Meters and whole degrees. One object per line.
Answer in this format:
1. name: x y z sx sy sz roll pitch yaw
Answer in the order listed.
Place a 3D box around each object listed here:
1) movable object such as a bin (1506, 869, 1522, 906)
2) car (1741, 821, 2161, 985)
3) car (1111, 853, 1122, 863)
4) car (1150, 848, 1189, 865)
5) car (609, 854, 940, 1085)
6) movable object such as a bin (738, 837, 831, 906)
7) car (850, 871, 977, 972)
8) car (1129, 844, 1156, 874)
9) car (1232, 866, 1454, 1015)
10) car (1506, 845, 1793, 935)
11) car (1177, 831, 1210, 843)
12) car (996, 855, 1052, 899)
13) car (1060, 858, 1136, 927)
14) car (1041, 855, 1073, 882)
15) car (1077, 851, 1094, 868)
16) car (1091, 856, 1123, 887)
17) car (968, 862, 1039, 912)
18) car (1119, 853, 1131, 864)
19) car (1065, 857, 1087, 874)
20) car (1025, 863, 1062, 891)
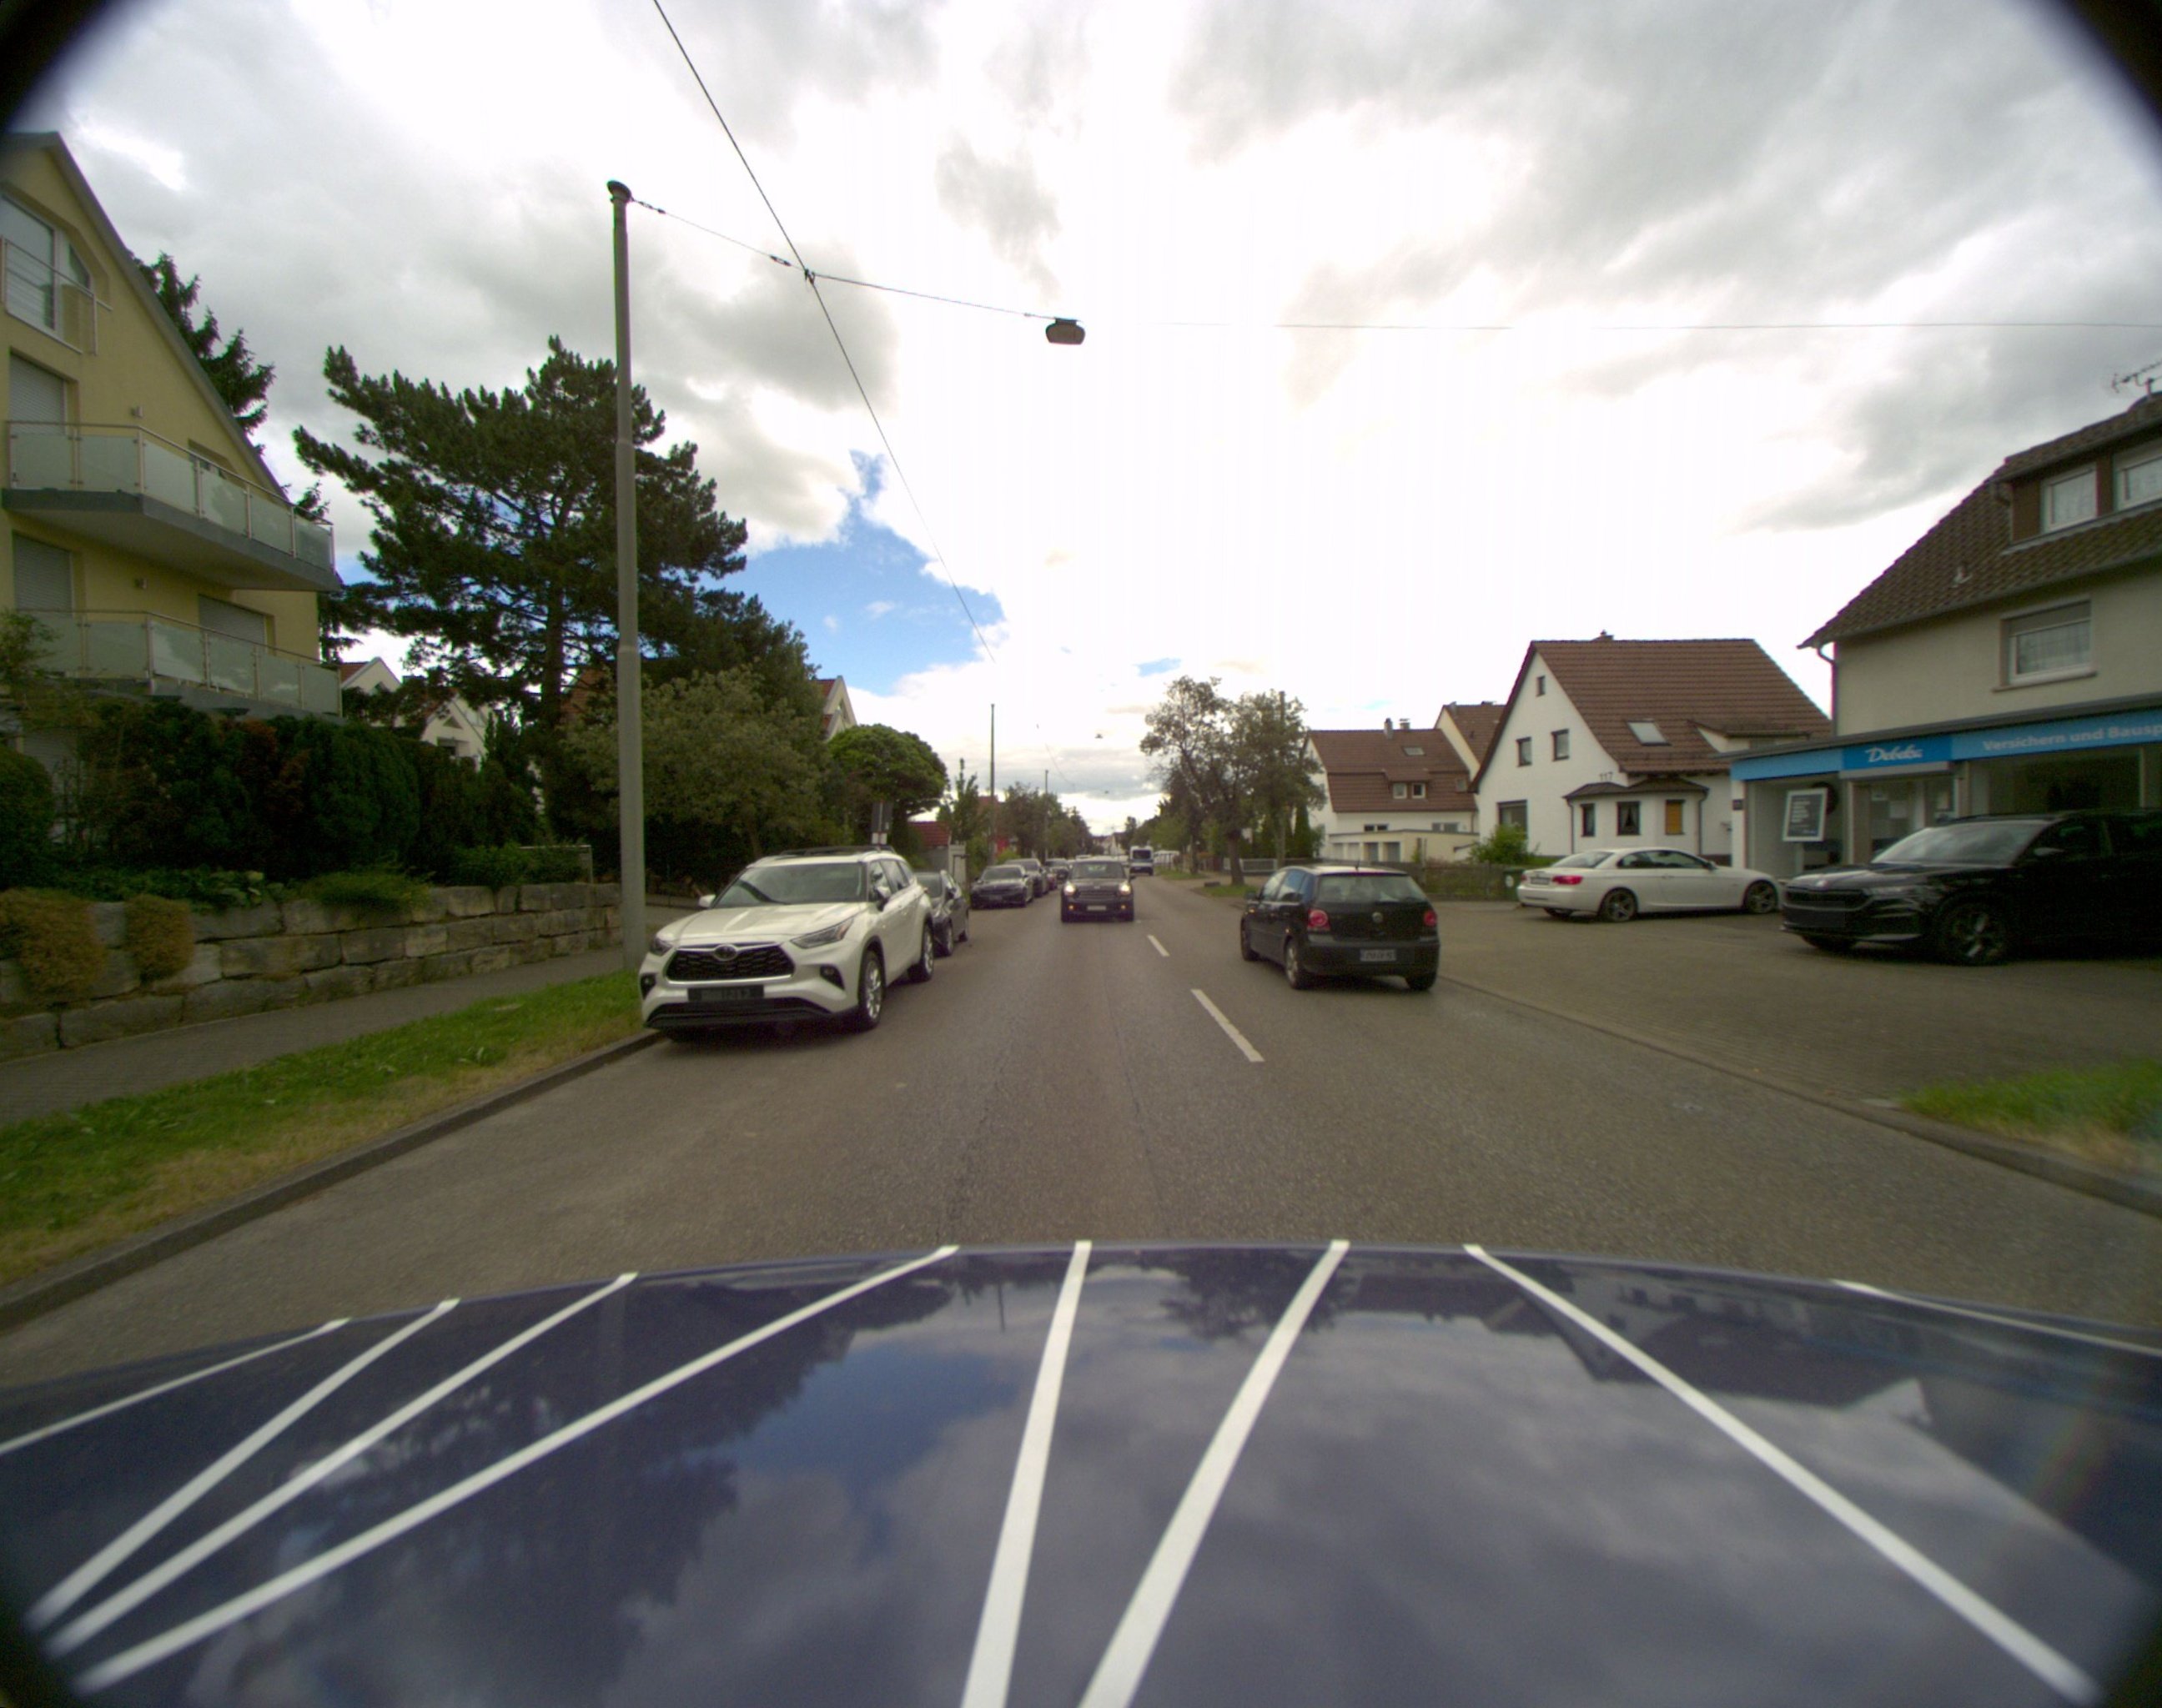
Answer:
1. movable object such as a bin: 11.529 0.886 20.237 0.133 0.954 0.428 -2 0 -2
2. car: 10.973 0.506 9.075 4.343 1.608 1.973 -3 1 3
3. car: 6.497 0.703 138.846 1.818 1.683 4.466 0 0 2
4. car: 13.753 0.315 118.363 5.610 2.549 2.133 1 1 20
5. car: -2.901 0.932 8.479 1.804 1.768 4.704 -3 0 -1
6. movable object such as a bin: -9.287 0.542 23.917 2.317 2.002 1.343 -3 1 -2
7. car: -2.884 1.106 13.753 1.562 1.434 3.506 -3 0 -2
8. car: 5.362 0.410 66.962 2.078 2.567 5.300 1 0 1
9. car: 3.115 0.944 9.778 1.579 1.464 3.470 0 1 -2
10. car: 10.898 0.651 14.751 4.290 1.360 1.815 -4 1 -4
11. car: 16.640 -2.518 112.507 4.644 1.611 2.000 -2 -1 1
12. car: -2.364 0.936 32.659 1.834 1.702 4.550 -2 0 3
13. car: 0.510 0.895 19.411 1.743 1.573 3.685 0 0 4
14. car: -1.522 0.923 50.038 1.692 1.600 4.109 -3 0 3
15. car: 0.573 0.664 91.787 1.779 1.932 4.789 -2 0 1
16. car: 1.435 0.909 40.937 1.590 1.598 3.685 -1 0 4
17. car: -2.618 1.086 26.596 1.834 1.448 4.550 -3 0 1
18. car: 6.736 0.669 116.908 1.799 1.741 4.299 0 0 3
19. car: -0.438 1.038 70.263 1.697 1.445 4.405 -3 0 3
20. car: -1.876 1.151 39.184 1.485 1.229 3.884 -4 0 2
